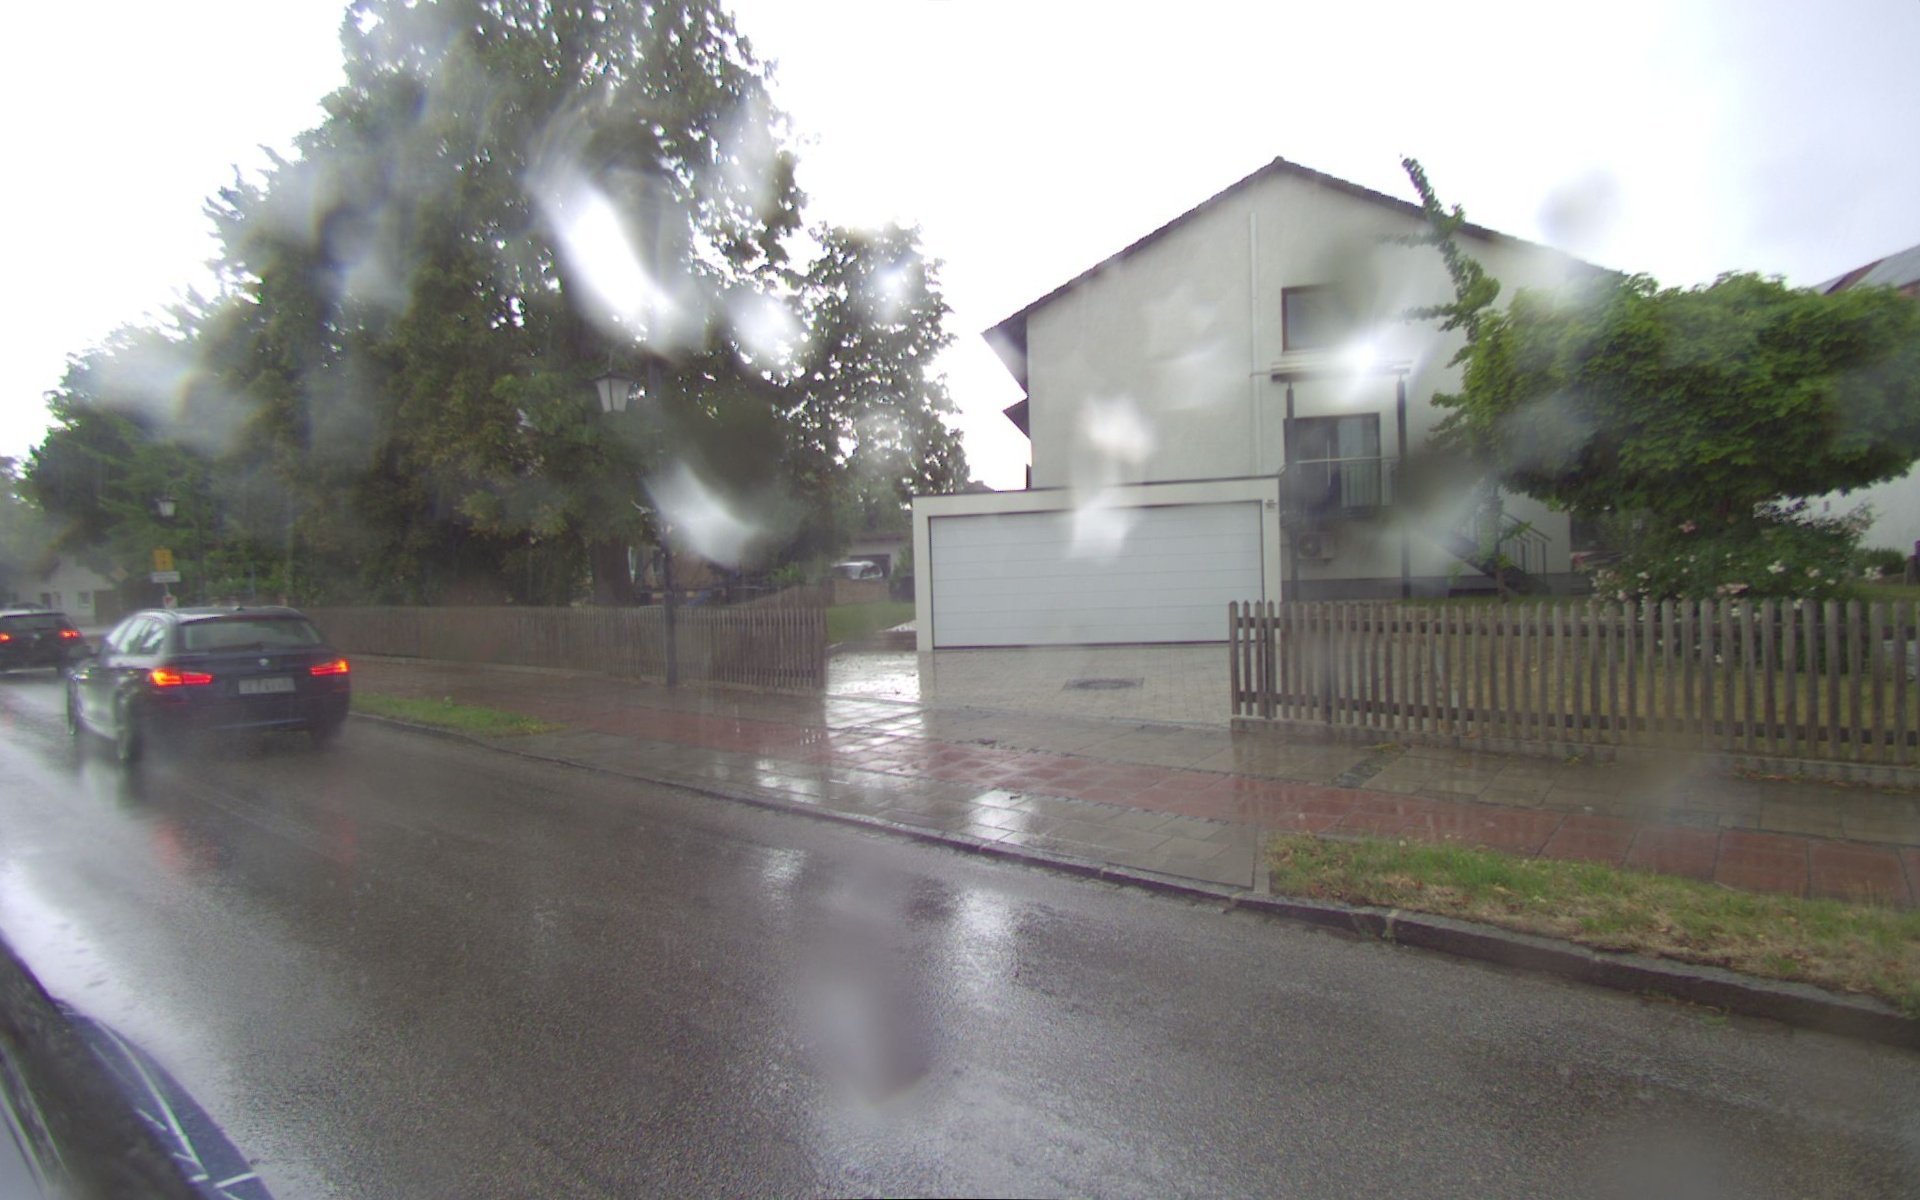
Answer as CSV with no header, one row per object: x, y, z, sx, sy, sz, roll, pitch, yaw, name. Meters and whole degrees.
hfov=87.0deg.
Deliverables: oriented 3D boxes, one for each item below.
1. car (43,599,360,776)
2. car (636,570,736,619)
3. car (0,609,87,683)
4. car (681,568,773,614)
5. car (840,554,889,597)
-8.240,0.783,10.843,4.371,1.476,1.762,-1,1,40,car
-11.661,-0.262,43.225,3.613,1.815,1.839,-3,2,7,car
-20.994,0.978,22.599,3.998,1.476,1.691,-1,1,41,car
-10.557,-0.432,46.017,3.613,1.815,1.839,-3,2,7,car
-5.317,-1.340,56.799,1.767,2.311,3.838,-1,0,11,car
